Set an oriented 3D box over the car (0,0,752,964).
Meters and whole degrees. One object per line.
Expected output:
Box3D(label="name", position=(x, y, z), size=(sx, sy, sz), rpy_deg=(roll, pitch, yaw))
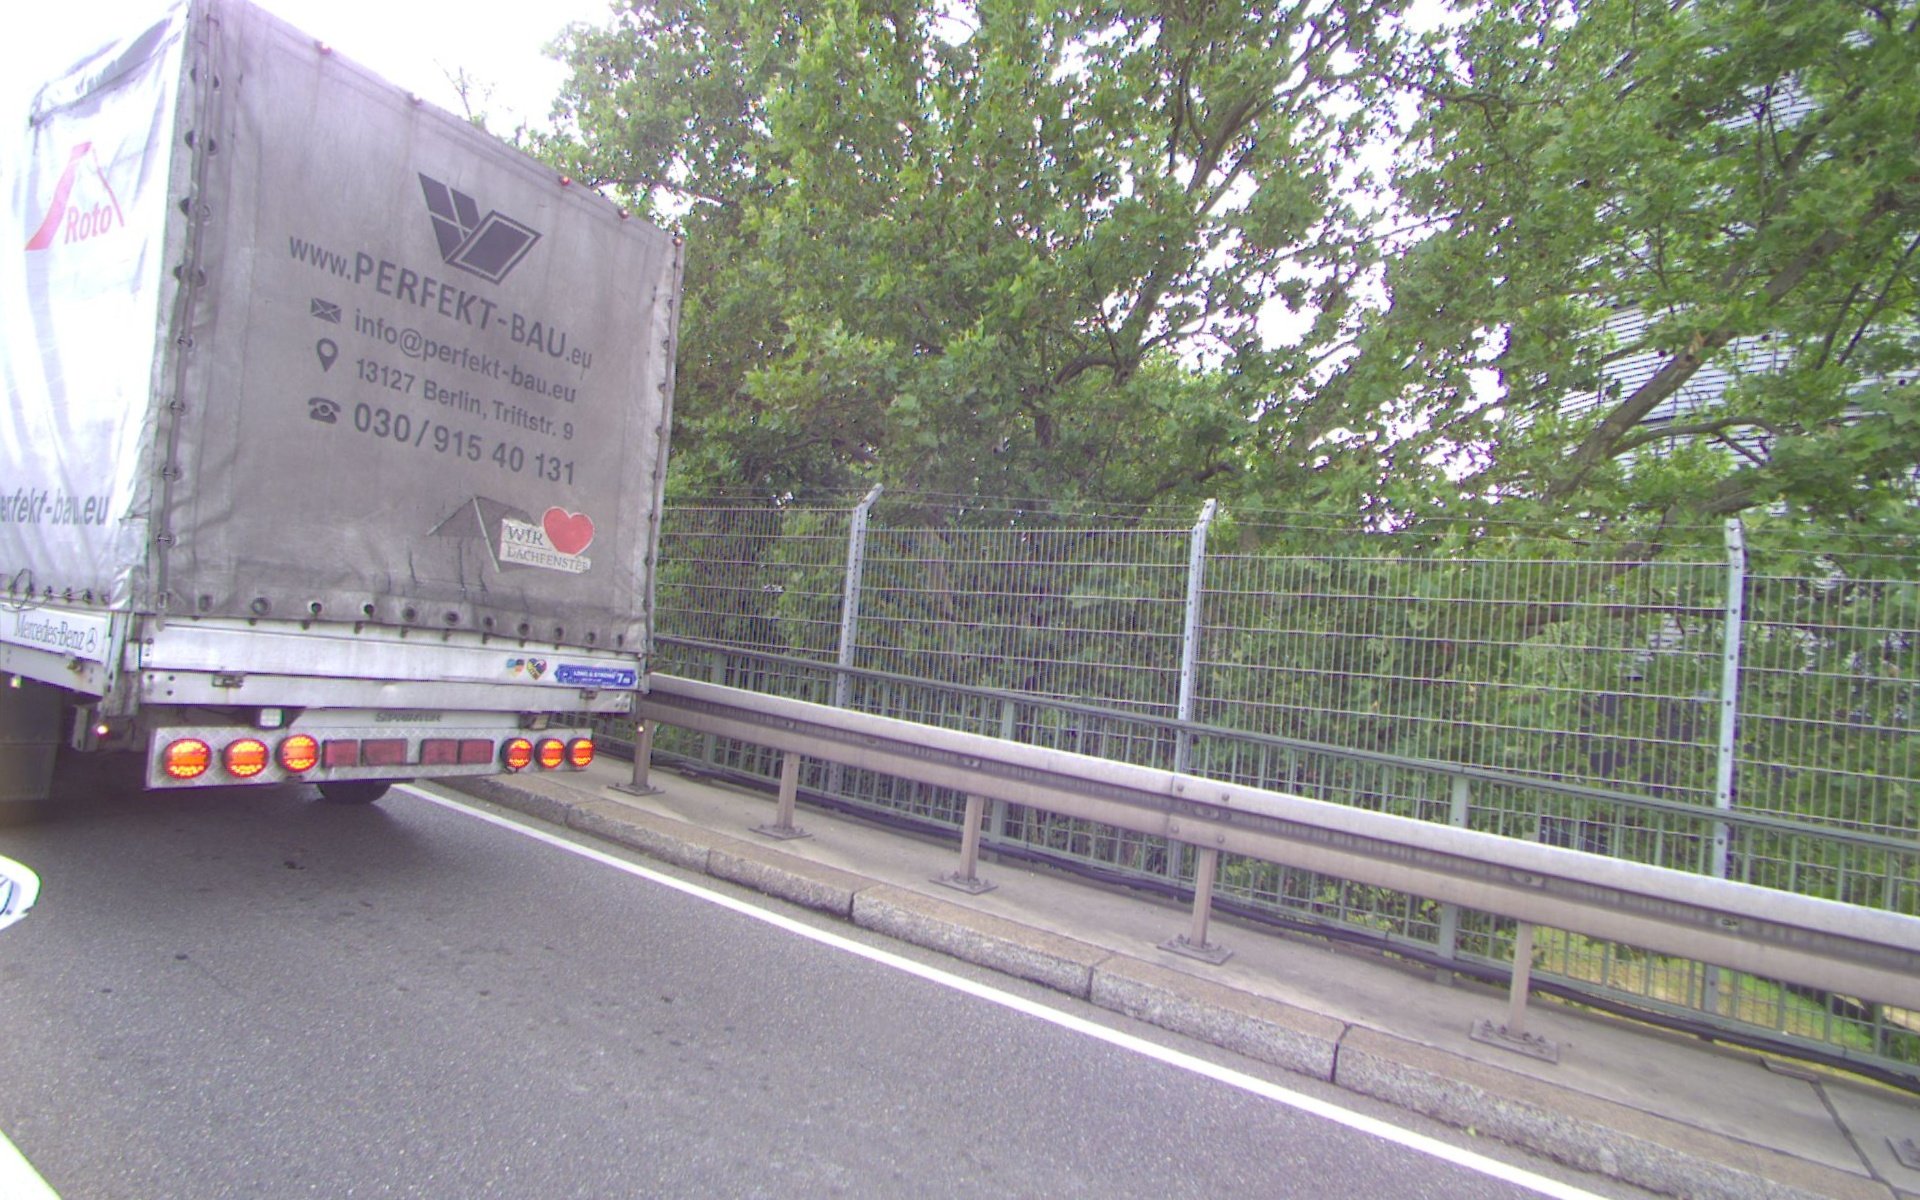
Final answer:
Box3D(label="car", position=(-4.946, -0.716, 6.166), size=(6.974, 3.369, 2.663), rpy_deg=(6, -1, 32))
